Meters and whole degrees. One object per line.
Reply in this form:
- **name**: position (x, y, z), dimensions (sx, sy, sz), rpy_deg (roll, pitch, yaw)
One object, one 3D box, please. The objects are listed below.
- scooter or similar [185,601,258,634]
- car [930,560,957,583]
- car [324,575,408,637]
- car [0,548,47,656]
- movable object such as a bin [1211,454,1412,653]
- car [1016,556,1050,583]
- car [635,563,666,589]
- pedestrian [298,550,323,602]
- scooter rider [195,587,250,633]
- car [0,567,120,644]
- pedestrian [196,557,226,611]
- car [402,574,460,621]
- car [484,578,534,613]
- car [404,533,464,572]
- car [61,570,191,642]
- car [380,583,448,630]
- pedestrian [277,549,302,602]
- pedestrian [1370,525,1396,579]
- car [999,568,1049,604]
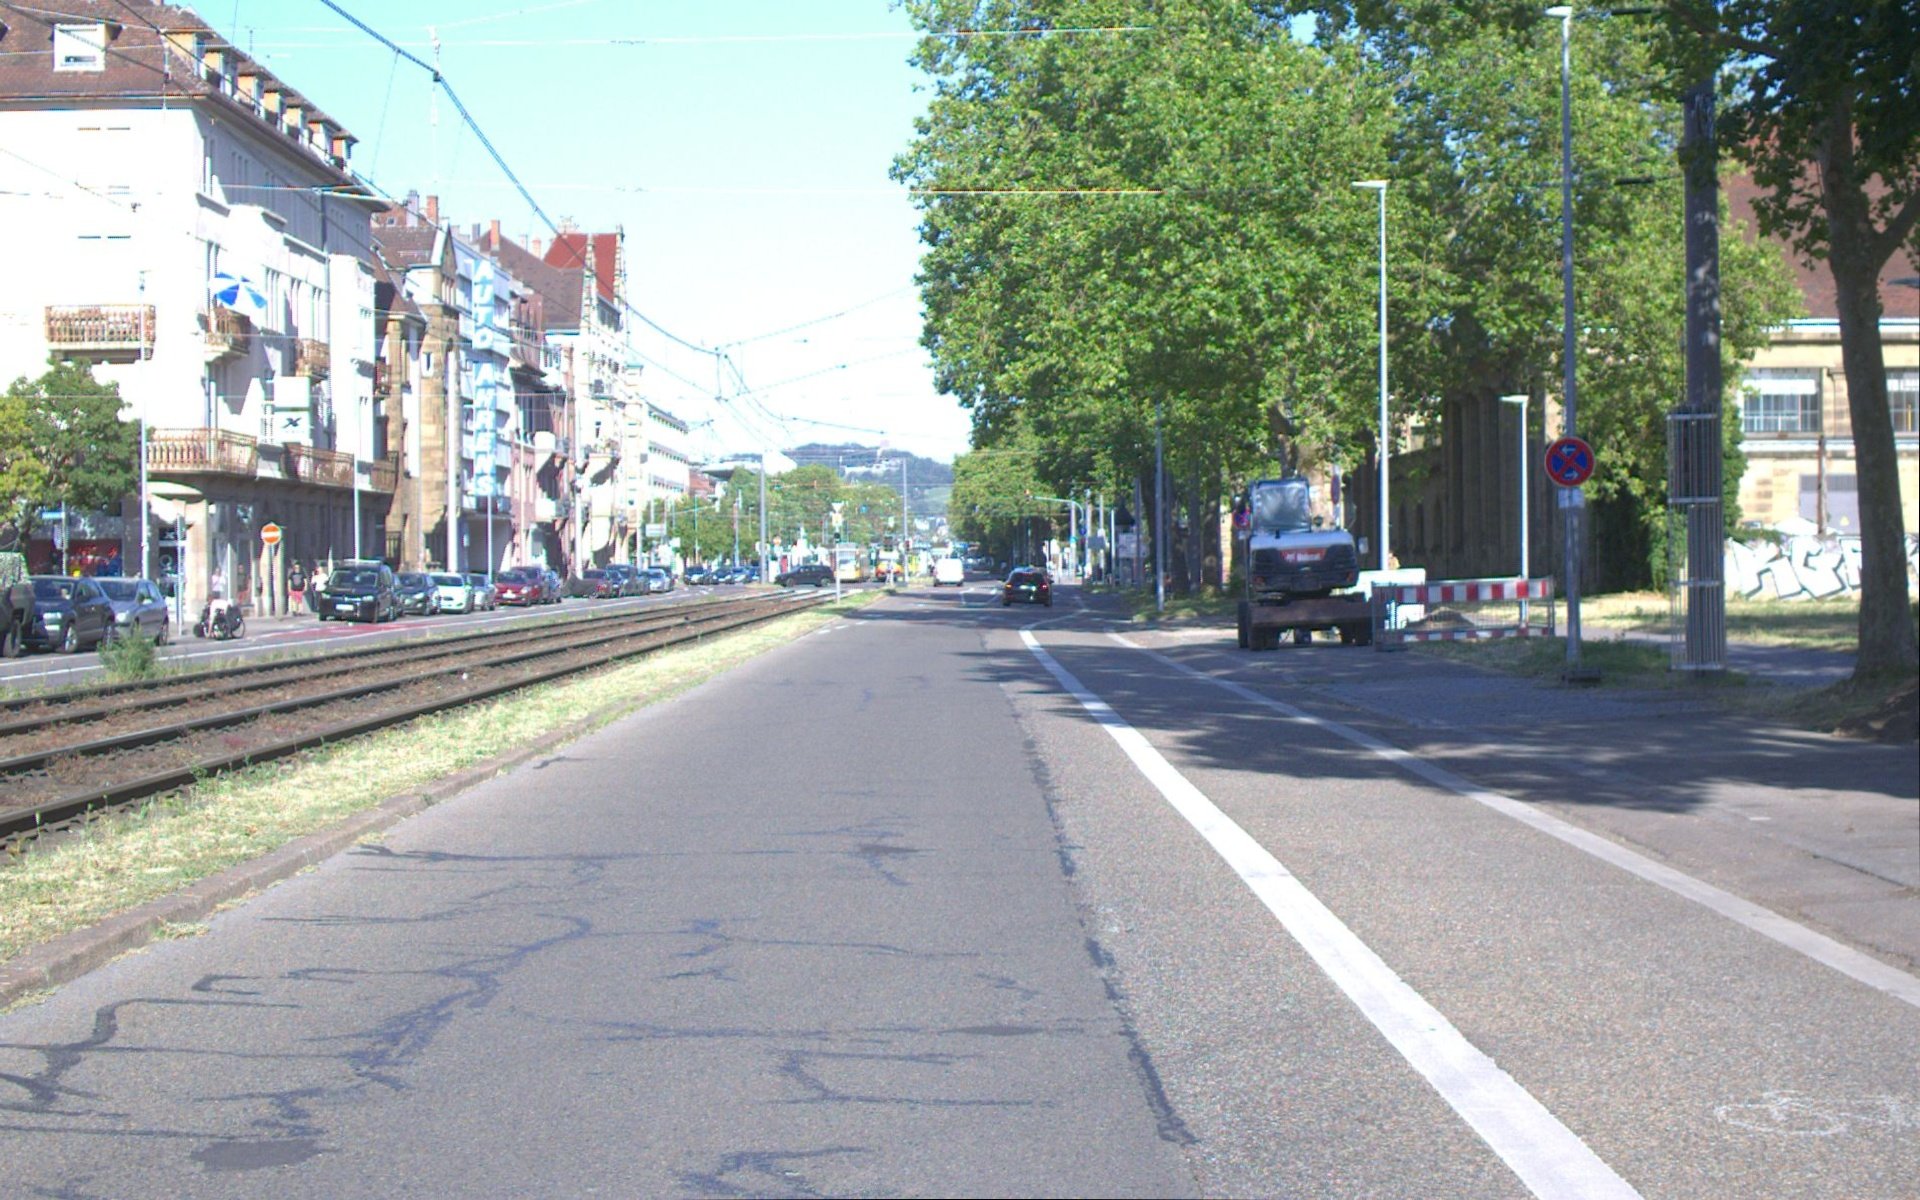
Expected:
- **scooter or similar**: position (-17.792, 0.416, 82.831), dimensions (1.567, 0.768, 0.807), rpy_deg (-1, 1, 31)
- **car**: position (-1.130, -1.958, 235.672), dimensions (1.794, 1.505, 4.000), rpy_deg (1, 0, -1)
- **car**: position (-18.512, 0.174, 107.277), dimensions (1.862, 1.780, 4.402), rpy_deg (1, 1, -1)
- **car**: position (-18.882, 0.011, 64.028), dimensions (2.077, 2.003, 5.591), rpy_deg (1, 1, 2)
- **movable object such as a bin**: position (6.097, -0.832, 60.689), dimensions (2.744, 3.135, 7.219), rpy_deg (-4, 1, 1)
- **car**: position (4.049, -1.688, 190.960), dimensions (1.794, 1.505, 4.000), rpy_deg (0, 0, -1)
- **car**: position (-19.062, -1.500, 212.024), dimensions (1.794, 1.505, 4.001), rpy_deg (3, 1, -4)
- **pedestrian**: position (-21.302, -0.782, 112.823), dimensions (0.589, 1.691, 0.857), rpy_deg (1, 0, 2)
- **scooter rider**: position (-17.759, 0.237, 82.810), dimensions (0.977, 1.085, 0.807), rpy_deg (-1, 1, 31)
- **car**: position (-18.561, 0.118, 70.262), dimensions (1.635, 1.502, 4.159), rpy_deg (1, 0, 2)
- **pedestrian**: position (-23.200, -0.493, 106.474), dimensions (0.639, 1.656, 0.954), rpy_deg (1, 0, 2)
- **car**: position (-19.028, -0.109, 123.739), dimensions (1.635, 1.463, 3.984), rpy_deg (1, 3, -3)
- **car**: position (-18.929, -0.203, 144.547), dimensions (1.833, 1.386, 4.036), rpy_deg (3, 0, -5)
- **car**: position (-20.256, -1.840, 132.460), dimensions (1.635, 1.464, 4.159), rpy_deg (1, 1, 0)
- **car**: position (-18.410, 0.134, 76.020), dimensions (1.794, 1.505, 4.000), rpy_deg (1, 0, 1)
- **car**: position (-18.715, 0.205, 118.025), dimensions (1.635, 1.464, 4.159), rpy_deg (3, 1, -1)
- **pedestrian**: position (-22.005, -0.799, 112.793), dimensions (0.589, 1.691, 0.857), rpy_deg (1, 0, 2)
- **pedestrian**: position (13.462, -1.516, 109.461), dimensions (0.608, 1.676, 0.636), rpy_deg (-4, 1, -2)
- **car**: position (2.481, -0.572, 134.590), dimensions (1.833, 1.386, 4.159), rpy_deg (0, 0, -1)
